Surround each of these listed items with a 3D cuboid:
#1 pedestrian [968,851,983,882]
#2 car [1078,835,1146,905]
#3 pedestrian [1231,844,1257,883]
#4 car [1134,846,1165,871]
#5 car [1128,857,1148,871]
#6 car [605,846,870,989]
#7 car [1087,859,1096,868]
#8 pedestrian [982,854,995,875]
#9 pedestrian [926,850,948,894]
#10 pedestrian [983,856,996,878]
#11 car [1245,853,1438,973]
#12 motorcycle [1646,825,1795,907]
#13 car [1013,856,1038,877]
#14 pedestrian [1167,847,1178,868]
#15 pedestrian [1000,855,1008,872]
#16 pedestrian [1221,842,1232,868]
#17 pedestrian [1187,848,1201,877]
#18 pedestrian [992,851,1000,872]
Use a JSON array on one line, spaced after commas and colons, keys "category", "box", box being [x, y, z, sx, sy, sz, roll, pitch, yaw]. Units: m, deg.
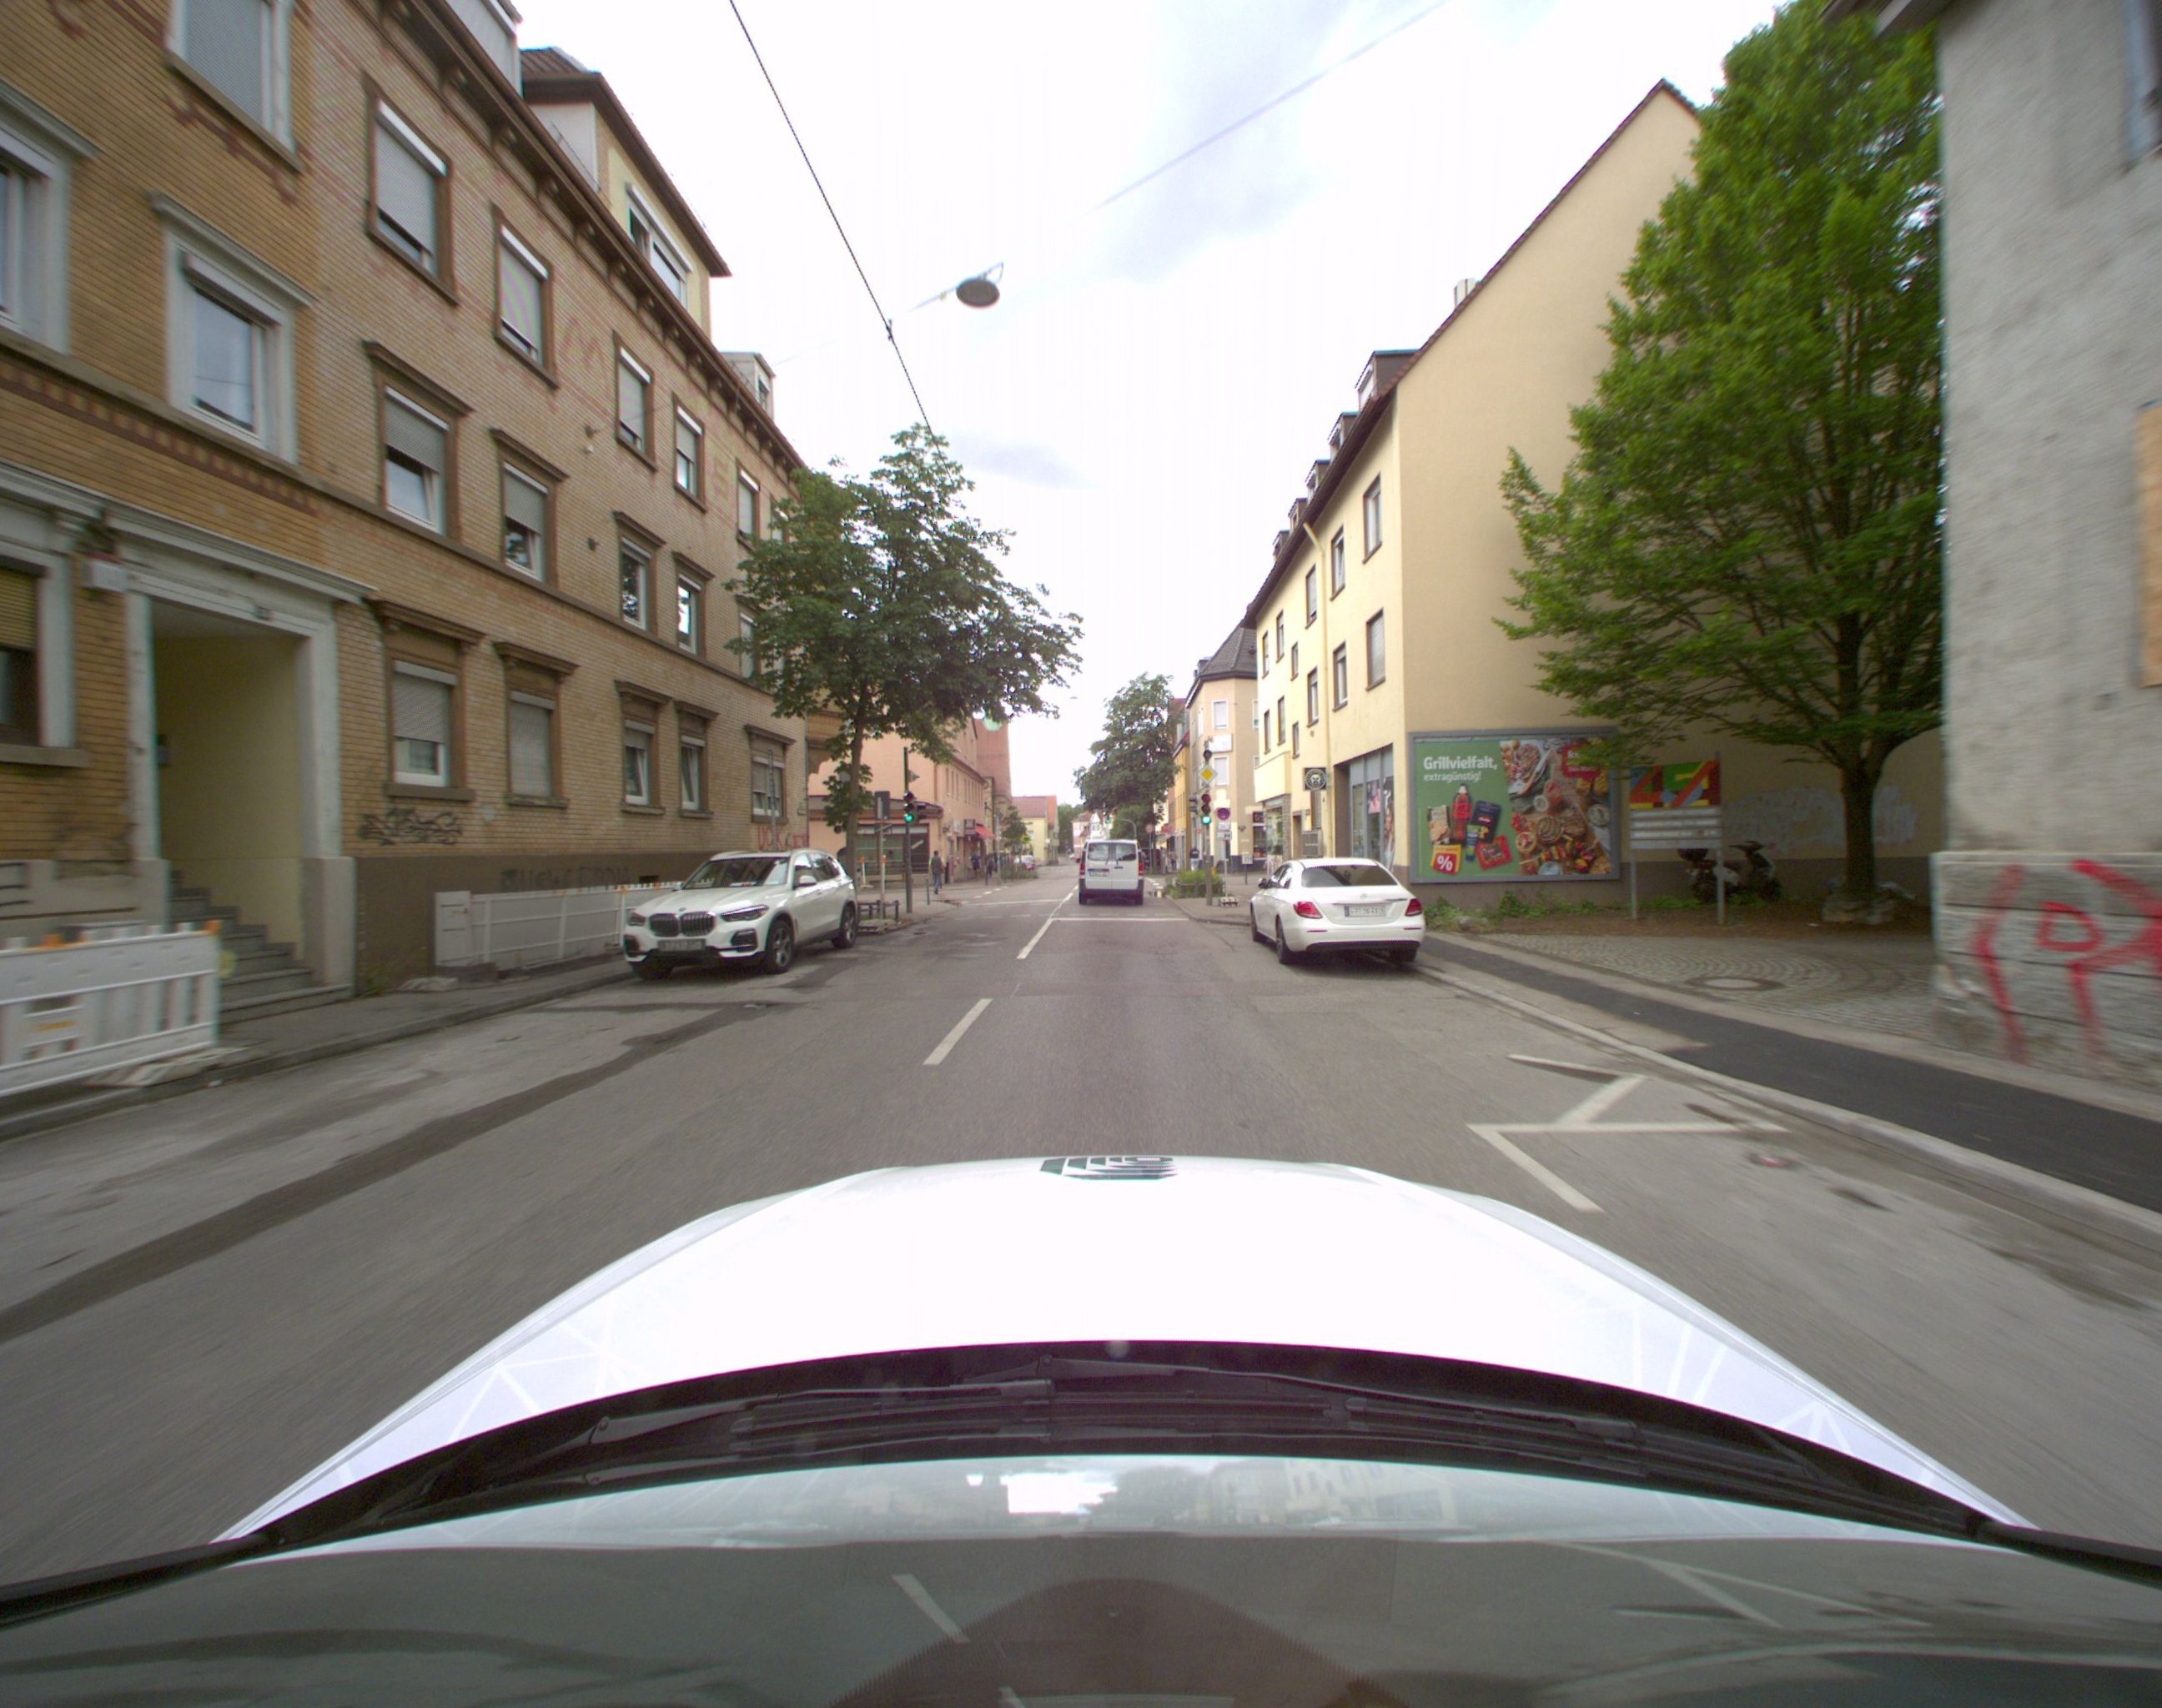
[{"category": "pedestrian", "box": [-6.064, 0.699, 46.810, 0.736, 1.718, 1.156, -1, 0, -2]}, {"category": "car", "box": [0.909, 0.457, 24.696, 1.866, 1.912, 4.001, -1, 0, 1]}, {"category": "pedestrian", "box": [6.989, 0.409, 34.895, 0.679, 1.664, 0.792, -2, -1, -35]}, {"category": "car", "box": [5.132, 0.344, 61.446, 1.814, 1.781, 4.401, -1, -1, -1]}, {"category": "car", "box": [5.497, 0.941, 78.869, 1.546, 1.333, 3.811, -1, -1, -1]}, {"category": "car", "box": [-4.973, 0.805, 12.686, 1.884, 1.712, 4.743, -3, 0, 2]}, {"category": "car", "box": [2.327, 2.077, 186.334, 1.929, 2.014, 3.998, 0, -1, -1]}, {"category": "pedestrian", "box": [-7.196, 0.832, 63.314, 0.733, 1.628, 0.752, -1, 0, -24]}, {"category": "pedestrian", "box": [-5.794, 0.709, 32.749, 0.737, 1.754, 0.981, -1, 0, -4]}, {"category": "pedestrian", "box": [-6.355, 0.907, 56.687, 0.736, 1.535, 0.982, -1, 0, -1]}, {"category": "car", "box": [3.716, 0.738, 12.519, 1.759, 1.466, 4.789, -1, 0, 5]}, {"category": "motorcycle", "box": [11.137, 0.206, 14.226, 1.987, 1.201, 0.674, -6, -1, -1]}, {"category": "car", "box": [-4.501, 0.975, 66.856, 1.697, 1.574, 4.450, -3, 0, 0]}, {"category": "pedestrian", "box": [7.216, 0.291, 64.068, 0.699, 1.649, 0.888, -2, 0, 0]}, {"category": "pedestrian", "box": [-6.866, 0.835, 72.696, 0.569, 1.554, 0.697, 0, -1, 1]}, {"category": "pedestrian", "box": [8.928, 0.057, 49.877, 0.565, 1.560, 0.521, 0, -1, 1]}, {"category": "pedestrian", "box": [6.467, 0.480, 46.634, 0.612, 1.653, 0.982, -1, 0, 0]}, {"category": "pedestrian", "box": [-7.578, 0.658, 72.796, 0.569, 1.848, 0.697, 2, -1, 1]}]
